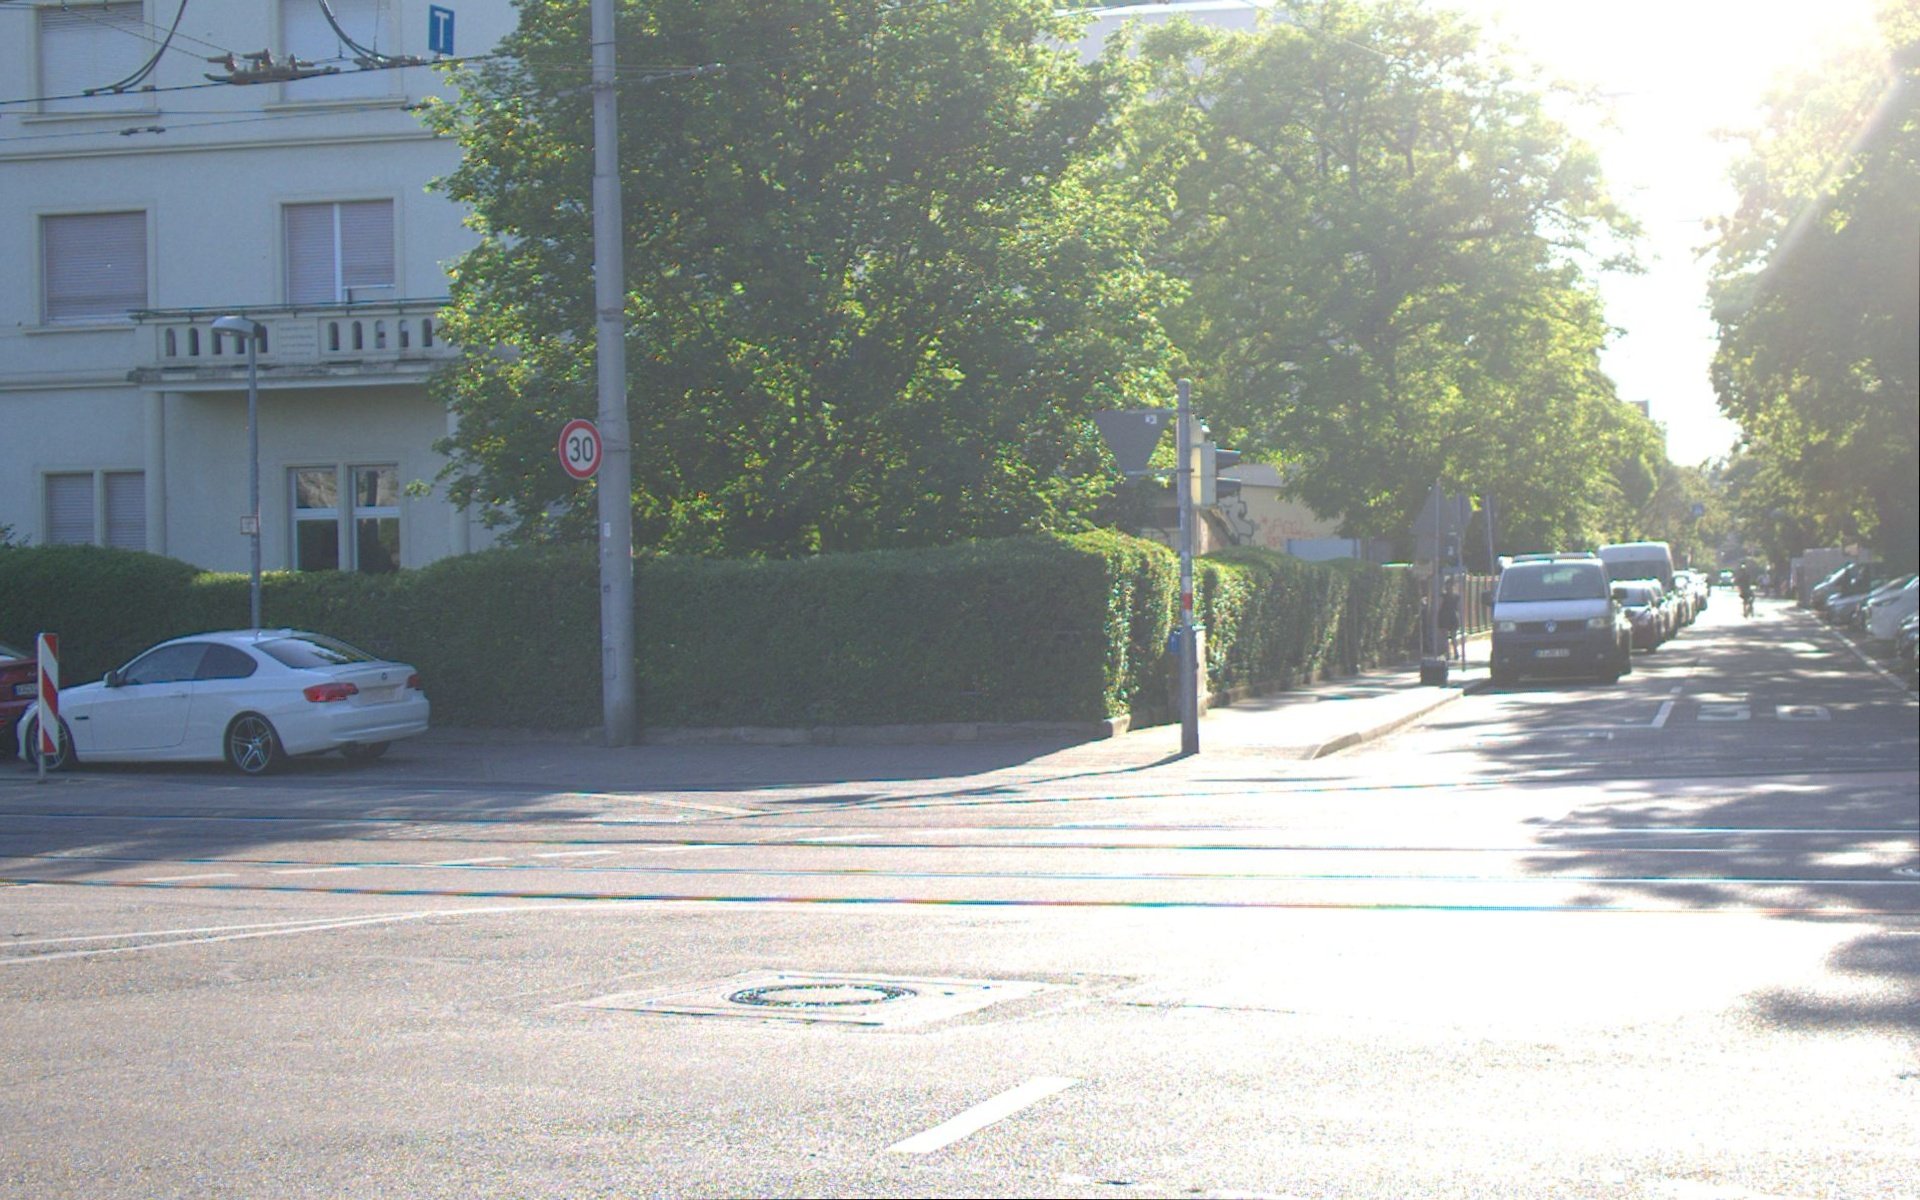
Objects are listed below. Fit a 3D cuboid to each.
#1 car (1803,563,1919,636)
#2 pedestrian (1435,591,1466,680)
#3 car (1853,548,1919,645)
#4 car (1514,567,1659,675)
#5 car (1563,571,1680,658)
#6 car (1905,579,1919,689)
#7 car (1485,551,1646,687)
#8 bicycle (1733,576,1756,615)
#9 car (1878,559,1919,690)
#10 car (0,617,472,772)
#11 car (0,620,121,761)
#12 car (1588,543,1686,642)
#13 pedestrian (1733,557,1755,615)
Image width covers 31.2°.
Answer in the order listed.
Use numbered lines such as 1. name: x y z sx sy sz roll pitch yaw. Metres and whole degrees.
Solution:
1. car: 25.740 -0.010 93.887 5.092 1.917 2.361 -1 -2 10
2. pedestrian: 9.518 0.682 66.698 0.579 1.725 0.608 0 0 7
3. car: 21.092 -0.080 70.632 5.092 1.917 2.361 -1 -2 10
4. car: 10.911 0.344 60.084 2.355 1.789 5.307 -1 0 10
5. car: 14.340 0.291 74.799 2.355 1.789 5.307 -1 0 10
6. car: 16.145 0.468 48.710 5.092 1.552 2.361 -1 -2 10
7. car: 9.499 0.280 54.040 2.355 2.007 5.307 -1 0 10
8. bicycle: 27.345 -0.159 119.867 0.766 1.319 1.922 -1 0 13
9. car: 16.705 0.360 51.238 5.622 1.917 2.361 -1 -2 10
10. car: -7.295 0.920 34.544 4.490 1.371 1.927 -1 2 31
11. car: -11.640 0.970 37.409 4.697 1.371 1.984 -1 2 28
12. car: 17.743 -0.199 90.296 2.355 2.506 5.307 -1 0 10
13. pedestrian: 27.323 -0.501 119.818 0.737 2.007 0.743 -1 0 13
